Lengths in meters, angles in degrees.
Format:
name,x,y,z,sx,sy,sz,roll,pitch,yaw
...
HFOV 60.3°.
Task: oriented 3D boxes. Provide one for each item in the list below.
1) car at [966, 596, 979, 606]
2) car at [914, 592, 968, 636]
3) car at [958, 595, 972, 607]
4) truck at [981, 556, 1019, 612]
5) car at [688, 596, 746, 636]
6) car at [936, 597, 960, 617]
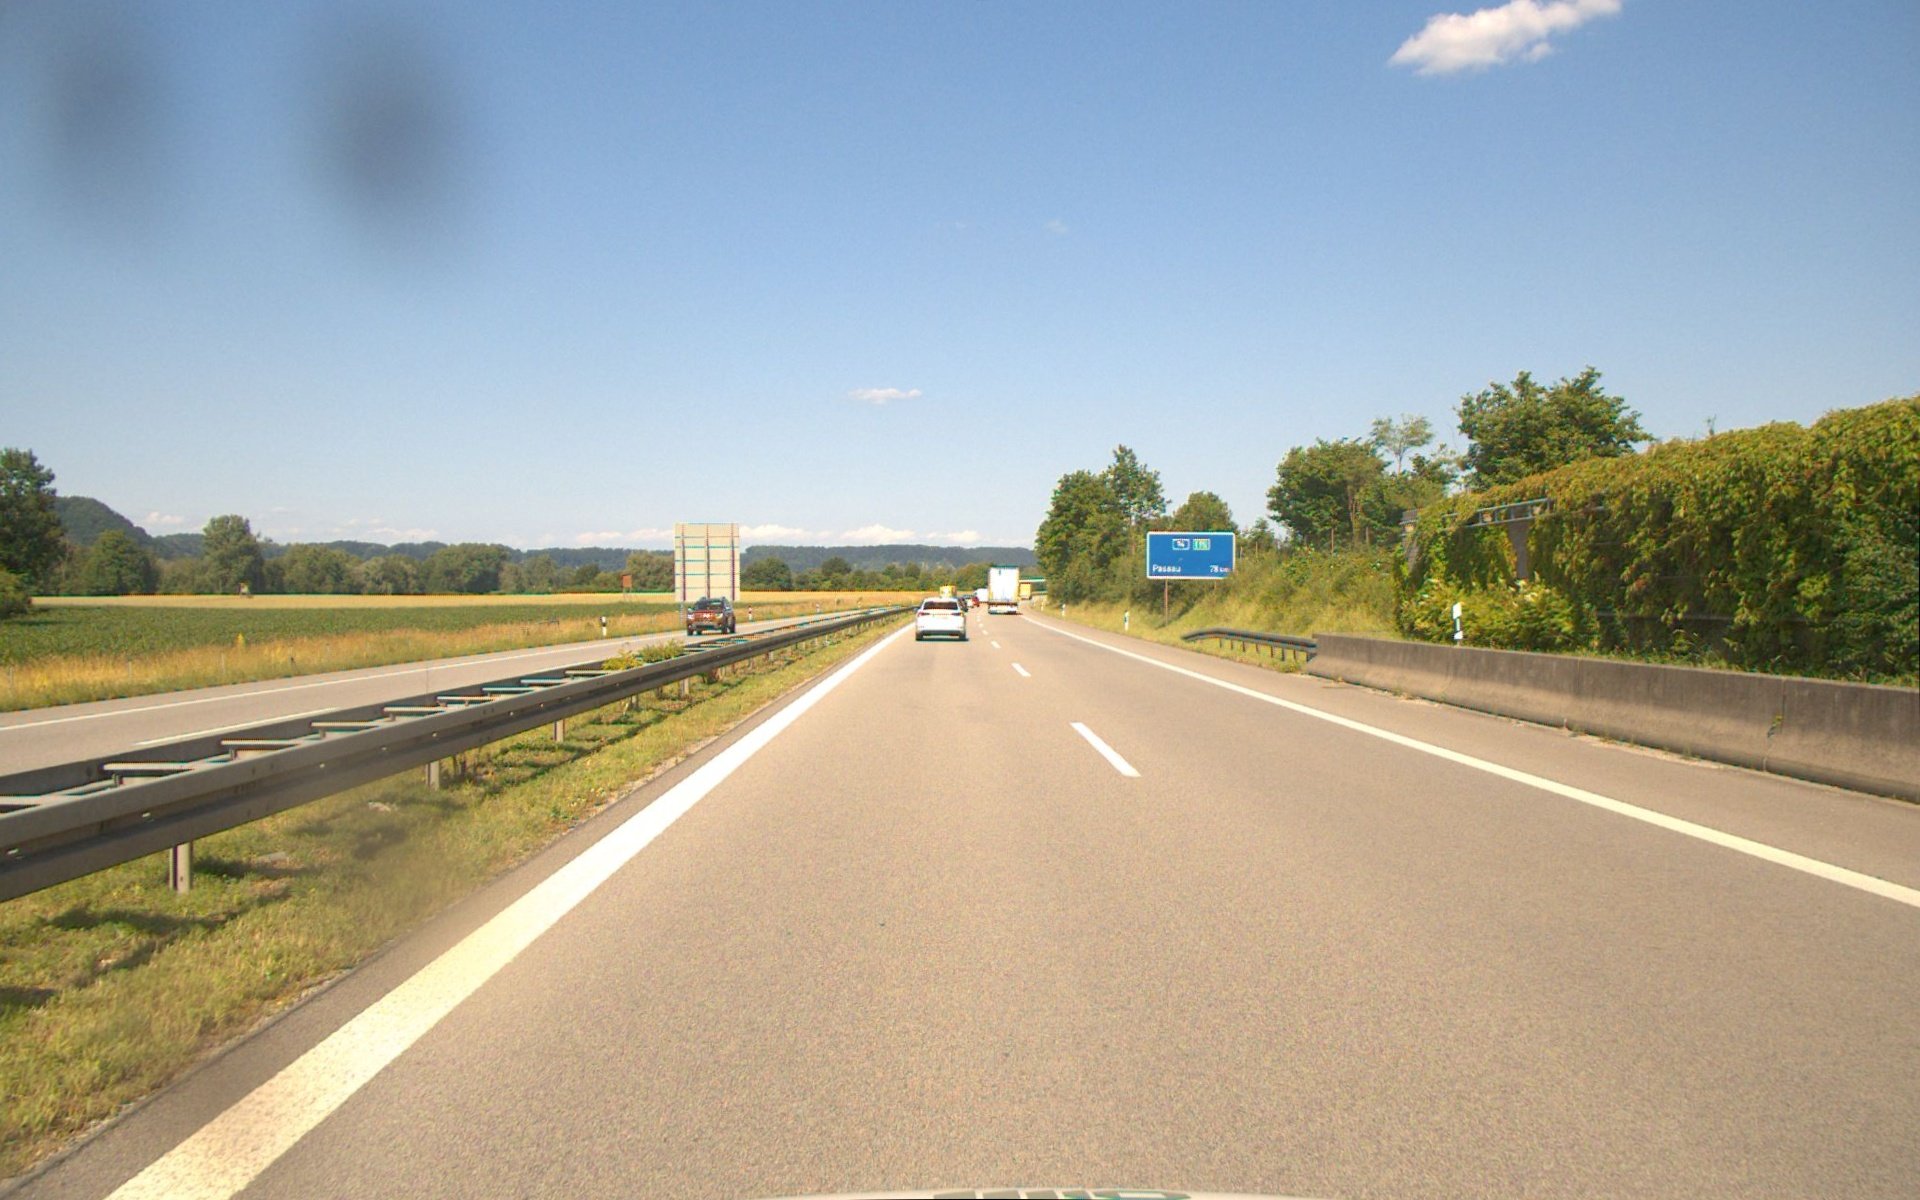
name,x,y,z,sx,sy,sz,roll,pitch,yaw
car,1.695,0.129,225.102,1.734,1.446,4.366,1,0,2
car,-0.664,0.458,58.008,1.803,1.446,5.254,1,0,-1
car,0.633,0.095,205.742,1.734,1.446,4.365,1,0,1
truck,3.493,-1.396,146.117,3.088,4.693,8.905,0,0,0
car,-11.105,0.688,75.823,1.953,1.690,4.775,-2,0,-1
car,-0.848,0.518,122.947,1.735,1.446,4.495,1,0,0
